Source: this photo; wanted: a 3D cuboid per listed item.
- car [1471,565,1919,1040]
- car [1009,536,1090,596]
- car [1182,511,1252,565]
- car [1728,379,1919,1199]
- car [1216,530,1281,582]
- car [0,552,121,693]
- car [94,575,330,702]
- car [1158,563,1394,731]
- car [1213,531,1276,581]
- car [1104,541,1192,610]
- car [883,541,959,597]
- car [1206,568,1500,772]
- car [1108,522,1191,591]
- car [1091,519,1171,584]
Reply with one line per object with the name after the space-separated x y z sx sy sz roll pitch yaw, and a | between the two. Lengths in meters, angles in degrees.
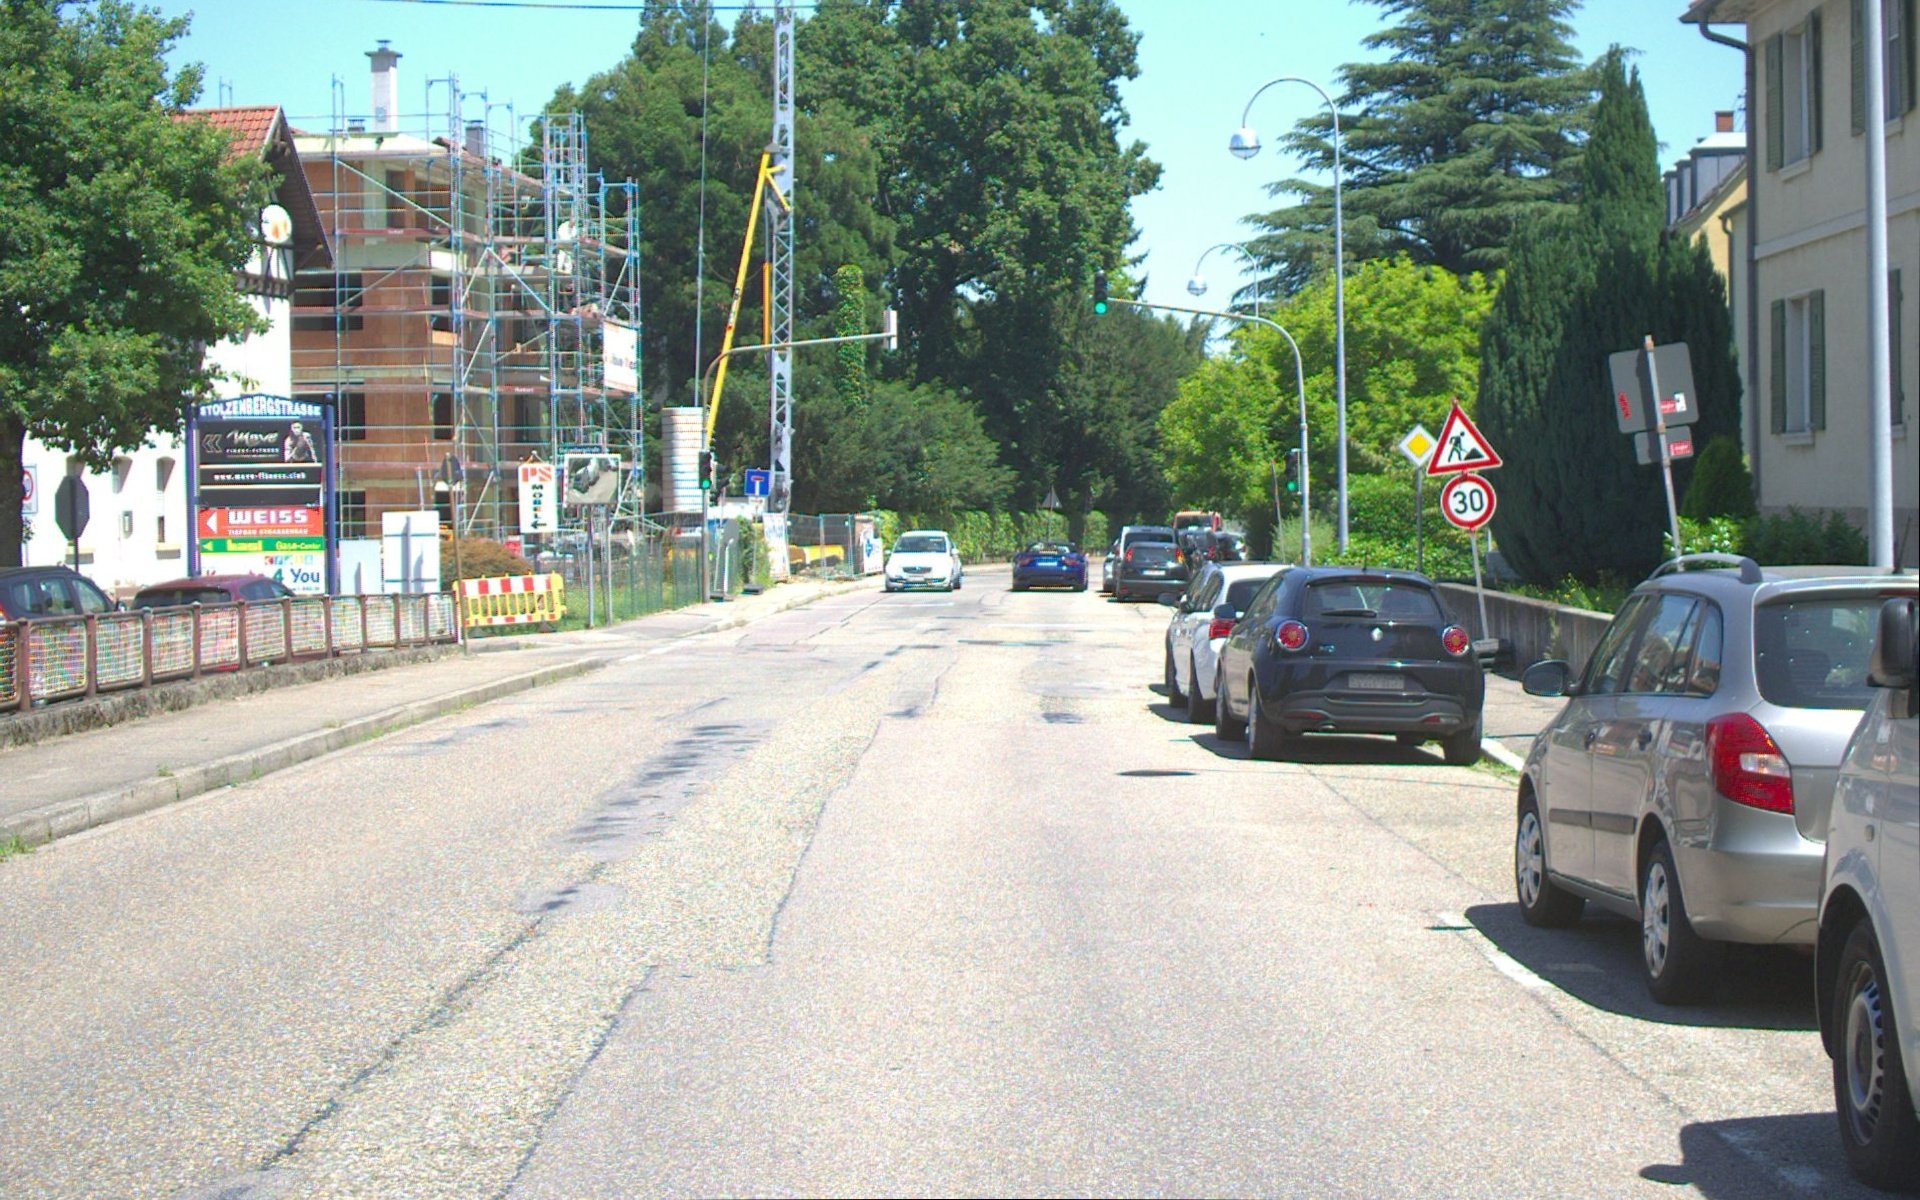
3.142 0.608 12.768 1.761 1.446 4.223 0 1 -1 | car
2.400 -0.923 91.360 1.959 1.463 4.000 0 2 5 | car
8.126 -1.940 108.543 1.994 1.656 3.999 -1 1 7 | car
3.067 0.507 6.622 1.993 1.894 4.823 2 1 -1 | car
9.536 -1.449 113.376 1.994 1.656 3.999 -1 1 7 | car
-11.245 0.241 40.239 1.660 1.570 3.534 -1 1 6 | car
-8.665 0.417 40.091 1.660 1.384 3.534 -1 1 6 | car
2.885 0.394 32.138 1.761 1.446 3.890 0 1 -1 | car
9.797 -1.500 118.166 1.994 1.656 3.999 -1 1 7 | car
4.483 -0.590 81.324 1.994 1.568 4.000 -1 1 4 | car
-1.015 -0.842 91.819 1.761 1.446 3.839 0 1 4 | car
2.972 0.489 26.704 1.761 1.446 3.840 0 1 -1 | car
4.775 -1.098 86.080 1.994 1.656 4.000 -1 1 4 | car
4.556 -1.271 91.169 1.994 1.656 4.000 -1 1 4 | car
